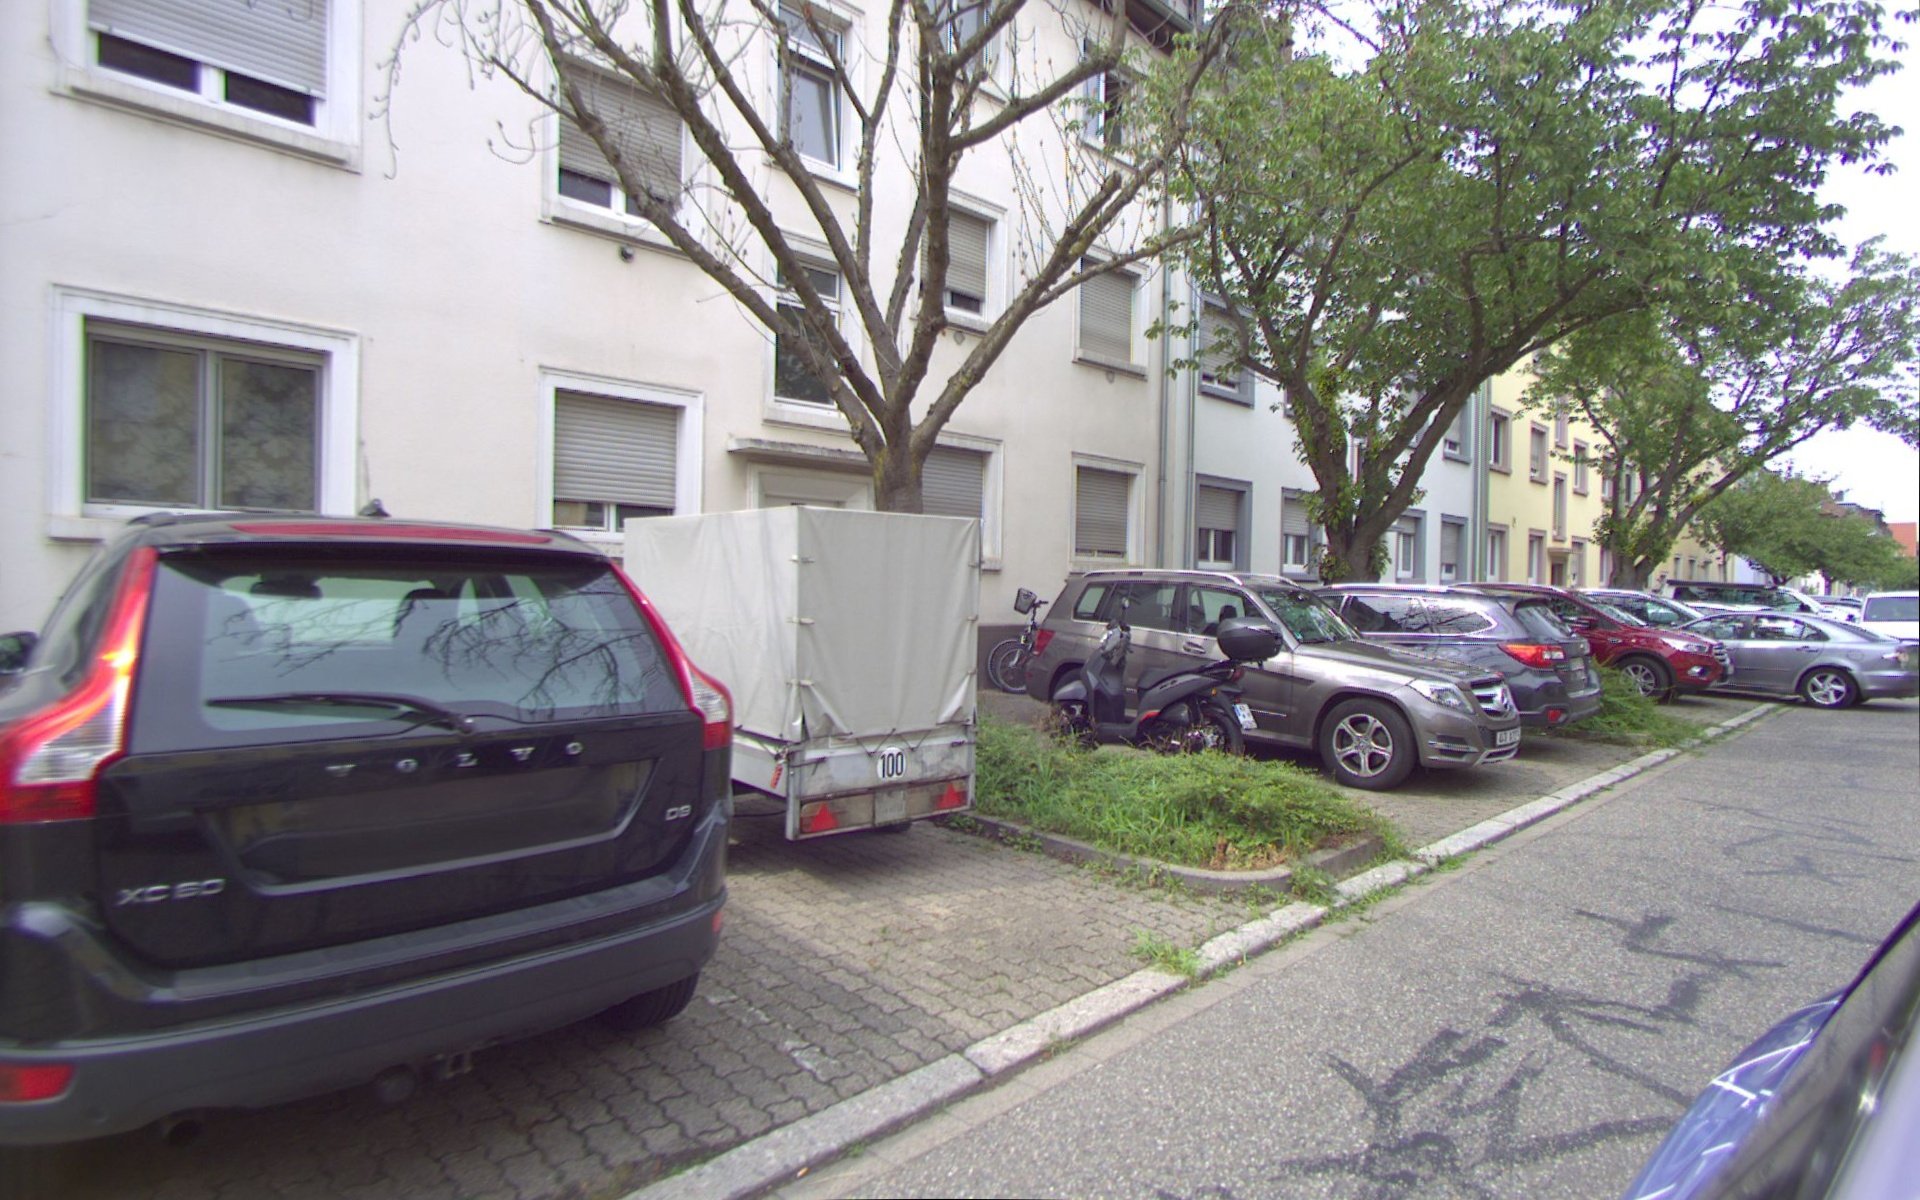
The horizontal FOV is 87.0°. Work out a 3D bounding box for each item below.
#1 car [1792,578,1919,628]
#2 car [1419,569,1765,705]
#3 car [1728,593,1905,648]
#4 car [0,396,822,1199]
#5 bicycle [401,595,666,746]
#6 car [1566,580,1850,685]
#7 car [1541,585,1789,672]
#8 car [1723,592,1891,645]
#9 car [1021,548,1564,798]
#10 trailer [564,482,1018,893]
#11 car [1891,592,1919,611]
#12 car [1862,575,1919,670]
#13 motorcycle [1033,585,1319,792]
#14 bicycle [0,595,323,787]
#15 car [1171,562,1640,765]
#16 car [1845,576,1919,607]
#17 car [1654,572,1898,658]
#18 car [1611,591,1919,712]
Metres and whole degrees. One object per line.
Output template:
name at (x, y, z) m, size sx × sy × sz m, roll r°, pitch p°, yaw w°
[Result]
car at (40.165, 0.111, 44.912) m, size 1.820 × 1.933 × 4.745 m, roll 0°, pitch 4°, yaw -43°
car at (9.804, 0.450, 15.987) m, size 1.871 × 1.698 × 4.224 m, roll 0°, pitch 4°, yaw -41°
car at (29.869, 0.643, 35.378) m, size 1.821 × 1.528 × 4.551 m, roll -1°, pitch 4°, yaw -45°
car at (-2.479, 0.403, 3.752) m, size 1.871 × 1.756 × 4.224 m, roll 0°, pitch 4°, yaw -41°
bicycle at (-3.601, 0.540, 8.668) m, size 1.971 × 1.110 × 0.688 m, roll 0°, pitch 3°, yaw -42°
car at (13.787, 0.511, 18.833) m, size 1.611 × 1.554 × 3.992 m, roll 0°, pitch 4°, yaw -43°
car at (14.713, 0.515, 21.288) m, size 1.611 × 1.437 × 3.992 m, roll 0°, pitch 4°, yaw -43°
car at (28.152, 0.568, 33.717) m, size 1.821 × 1.432 × 4.096 m, roll -1°, pitch 4°, yaw -45°
car at (2.769, 0.417, 9.112) m, size 4.218 × 1.617 × 1.873 m, roll 5°, pitch 4°, yaw 45°
trailer at (-1.187, 0.302, 6.128) m, size 1.376 × 1.853 × 2.968 m, roll 0°, pitch 3°, yaw -40°
car at (72.682, 0.120, 76.469) m, size 3.432 × 1.465 × 1.621 m, roll 1°, pitch 1°, yaw 44°
car at (21.435, 0.439, 22.404) m, size 1.994 × 1.939 × 4.629 m, roll 0°, pitch 0°, yaw 44°
motorcycle at (1.673, 0.615, 8.204) m, size 2.226 × 1.427 × 0.703 m, roll 2°, pitch 1°, yaw 45°
bicycle at (-5.483, 0.545, 6.774) m, size 1.971 × 1.110 × 0.688 m, roll 0°, pitch 3°, yaw -42°
car at (4.617, 0.484, 10.938) m, size 4.218 × 1.617 × 1.873 m, roll 5°, pitch 4°, yaw 45°
car at (61.869, -0.571, 66.980) m, size 1.840 × 1.849 × 4.715 m, roll 0°, pitch 4°, yaw -43°
car at (23.253, 0.327, 29.032) m, size 5.230 × 2.047 × 2.042 m, roll 5°, pitch 4°, yaw 43°
car at (12.860, 0.706, 15.995) m, size 1.737 × 1.472 × 3.992 m, roll 0°, pitch 4°, yaw -43°
